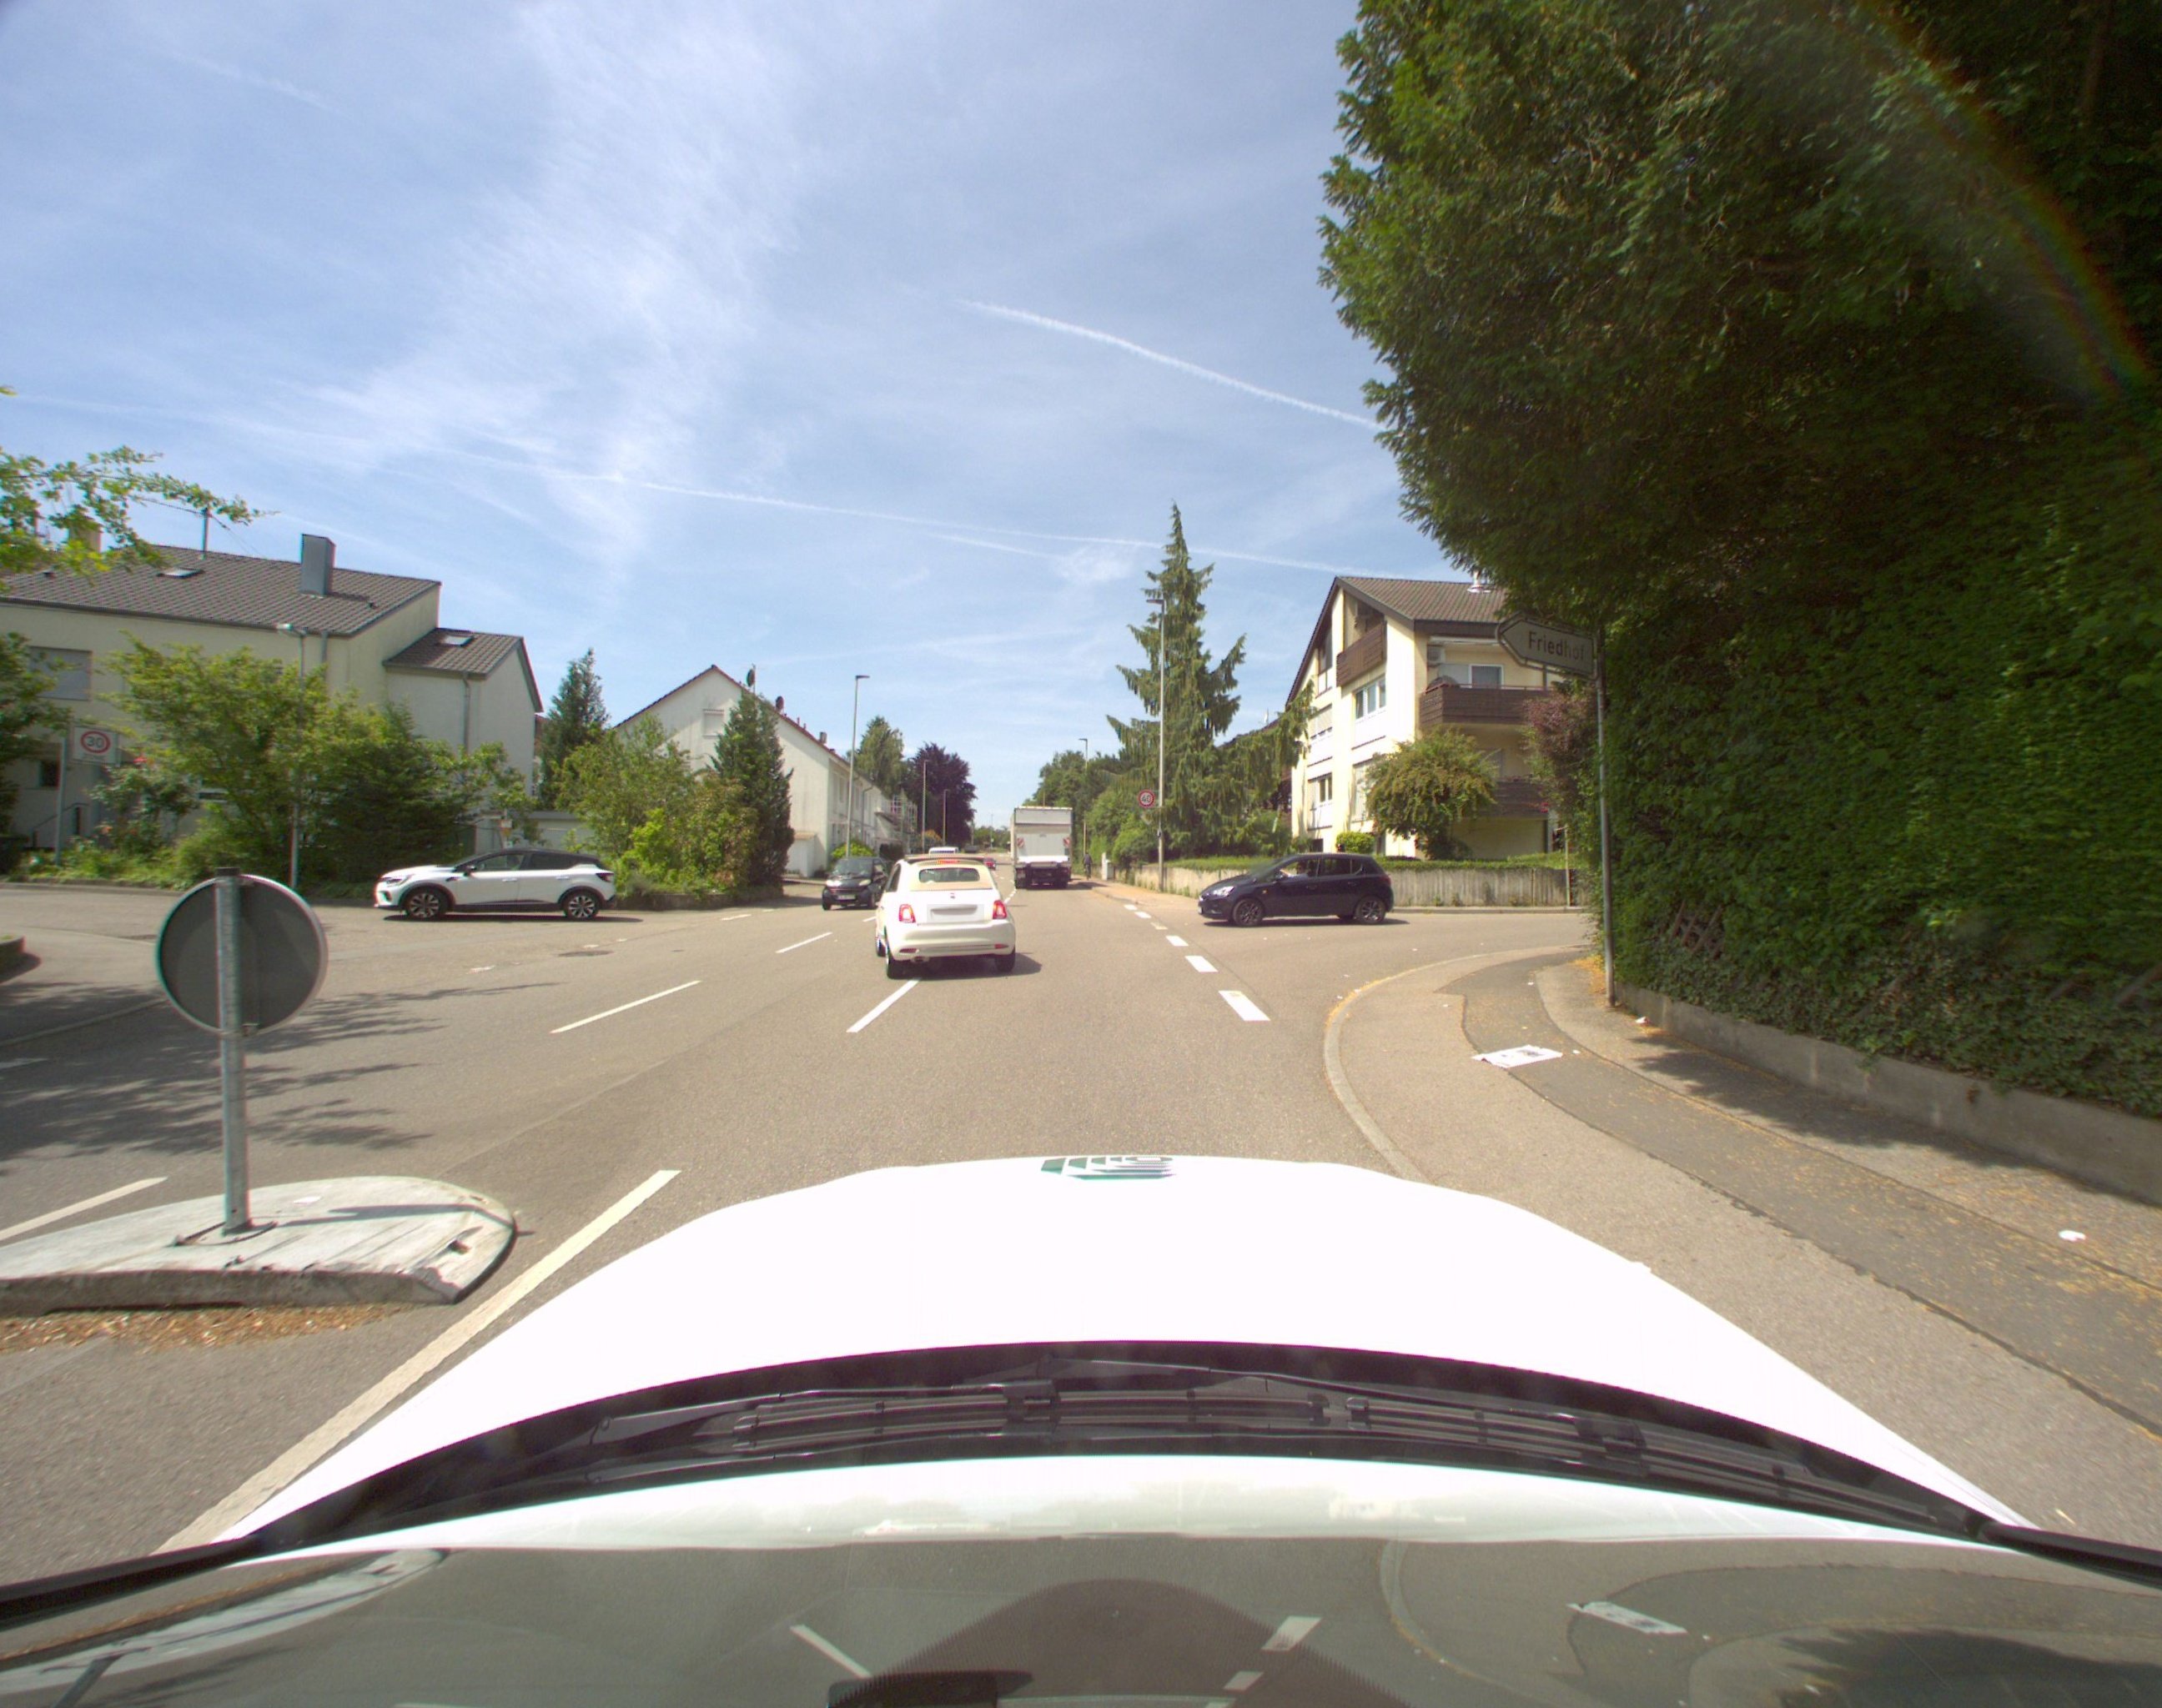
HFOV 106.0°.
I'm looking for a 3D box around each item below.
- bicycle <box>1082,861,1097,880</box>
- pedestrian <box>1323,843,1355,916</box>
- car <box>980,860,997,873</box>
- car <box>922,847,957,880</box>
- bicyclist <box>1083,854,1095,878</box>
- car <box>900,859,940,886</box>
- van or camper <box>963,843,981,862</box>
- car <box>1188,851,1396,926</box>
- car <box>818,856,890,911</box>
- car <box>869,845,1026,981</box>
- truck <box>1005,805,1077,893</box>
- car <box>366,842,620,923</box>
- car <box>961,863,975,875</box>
[{"bbox_3d":[0.468,0.964,47.976,0.667,1.104,2.421,1,0,-5],"label":"bicycle"},{"bbox_3d":[6.074,0.586,19.152,0.690,1.671,0.572,0,0,19],"label":"pedestrian"},{"bbox_3d":[-11.120,1.460,98.247,1.830,1.534,3.993,1,-1,-5],"label":"car"},{"bbox_3d":[-9.823,0.634,56.990,2.035,2.200,5.570,0,0,-6],"label":"car"},{"bbox_3d":[0.467,0.701,47.928,0.587,1.412,0.741,1,0,-5],"label":"bicyclist"},{"bbox_3d":[-8.870,1.003,45.083,1.802,1.398,3.991,0,0,-6],"label":"car"},{"bbox_3d":[-17.489,-0.274,131.391,2.259,2.962,5.883,1,0,-2],"label":"van or camper"},{"bbox_3d":[4.329,0.689,17.084,3.921,1.458,1.658,-1,0,-1],"label":"car"},{"bbox_3d":[-6.709,0.831,24.307,1.477,1.510,2.797,-1,0,-4],"label":"car"},{"bbox_3d":[-2.089,0.716,11.766,1.729,1.560,3.977,-1,0,-17],"label":"car"},{"bbox_3d":[-2.063,-0.215,39.035,3.064,3.774,7.852,-1,0,-6],"label":"truck"},{"bbox_3d":[-12.514,0.647,17.612,4.188,1.529,1.769,4,-1,-36],"label":"car"},{"bbox_3d":[-15.026,2.004,108.255,1.472,1.494,3.080,0,-1,0],"label":"car"}]
